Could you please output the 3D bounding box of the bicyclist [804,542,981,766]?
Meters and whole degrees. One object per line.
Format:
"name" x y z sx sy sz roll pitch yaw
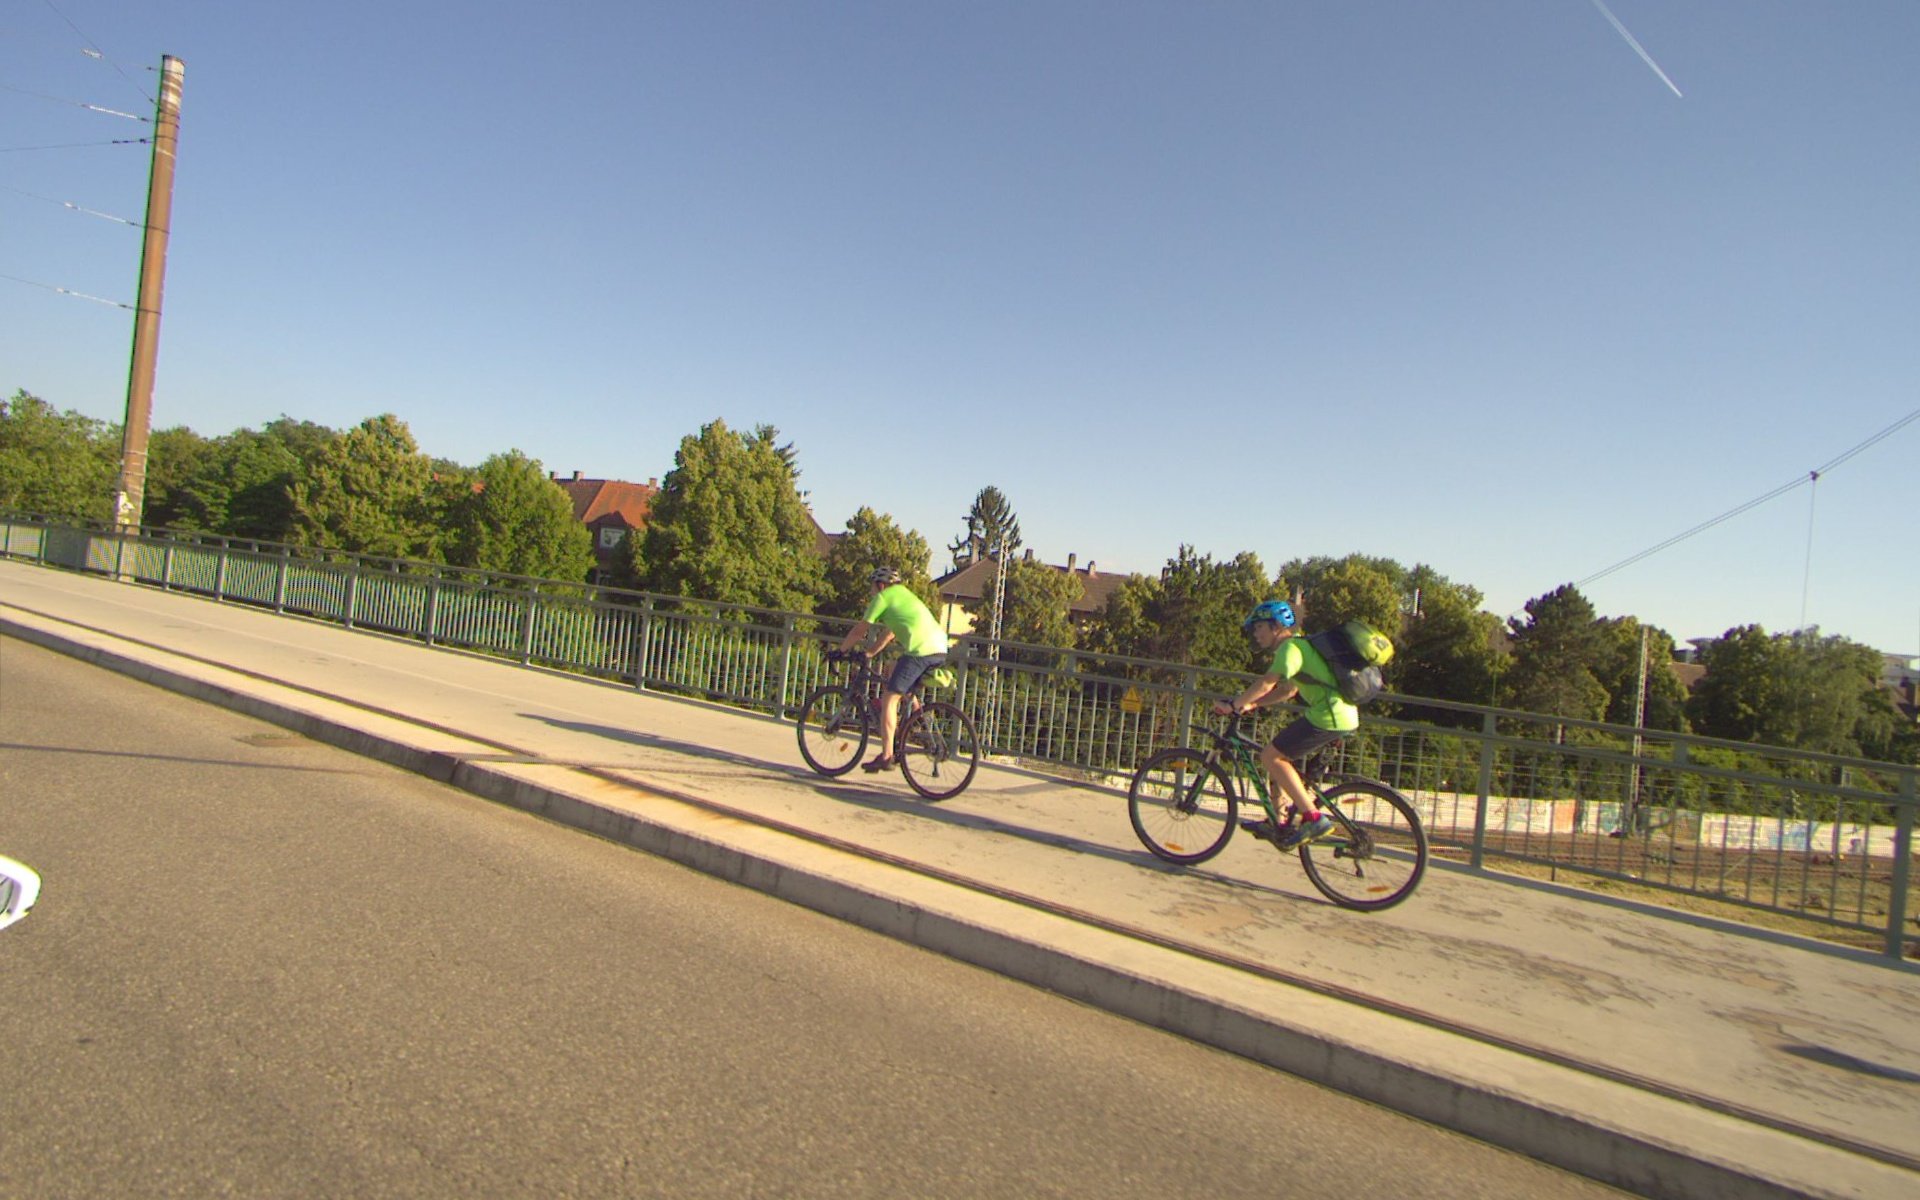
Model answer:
"bicyclist" -0.507 0.397 7.603 0.989 1.526 0.626 6 -1 29

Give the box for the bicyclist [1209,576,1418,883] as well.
"bicyclist" 2.100 0.726 5.965 0.915 1.611 0.626 5 -2 32

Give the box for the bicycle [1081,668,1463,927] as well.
"bicycle" 1.831 1.097 6.053 2.008 1.135 0.626 5 -2 32

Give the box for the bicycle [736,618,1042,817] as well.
"bicycle" -0.578 0.832 7.611 2.221 1.135 0.626 6 -2 30
